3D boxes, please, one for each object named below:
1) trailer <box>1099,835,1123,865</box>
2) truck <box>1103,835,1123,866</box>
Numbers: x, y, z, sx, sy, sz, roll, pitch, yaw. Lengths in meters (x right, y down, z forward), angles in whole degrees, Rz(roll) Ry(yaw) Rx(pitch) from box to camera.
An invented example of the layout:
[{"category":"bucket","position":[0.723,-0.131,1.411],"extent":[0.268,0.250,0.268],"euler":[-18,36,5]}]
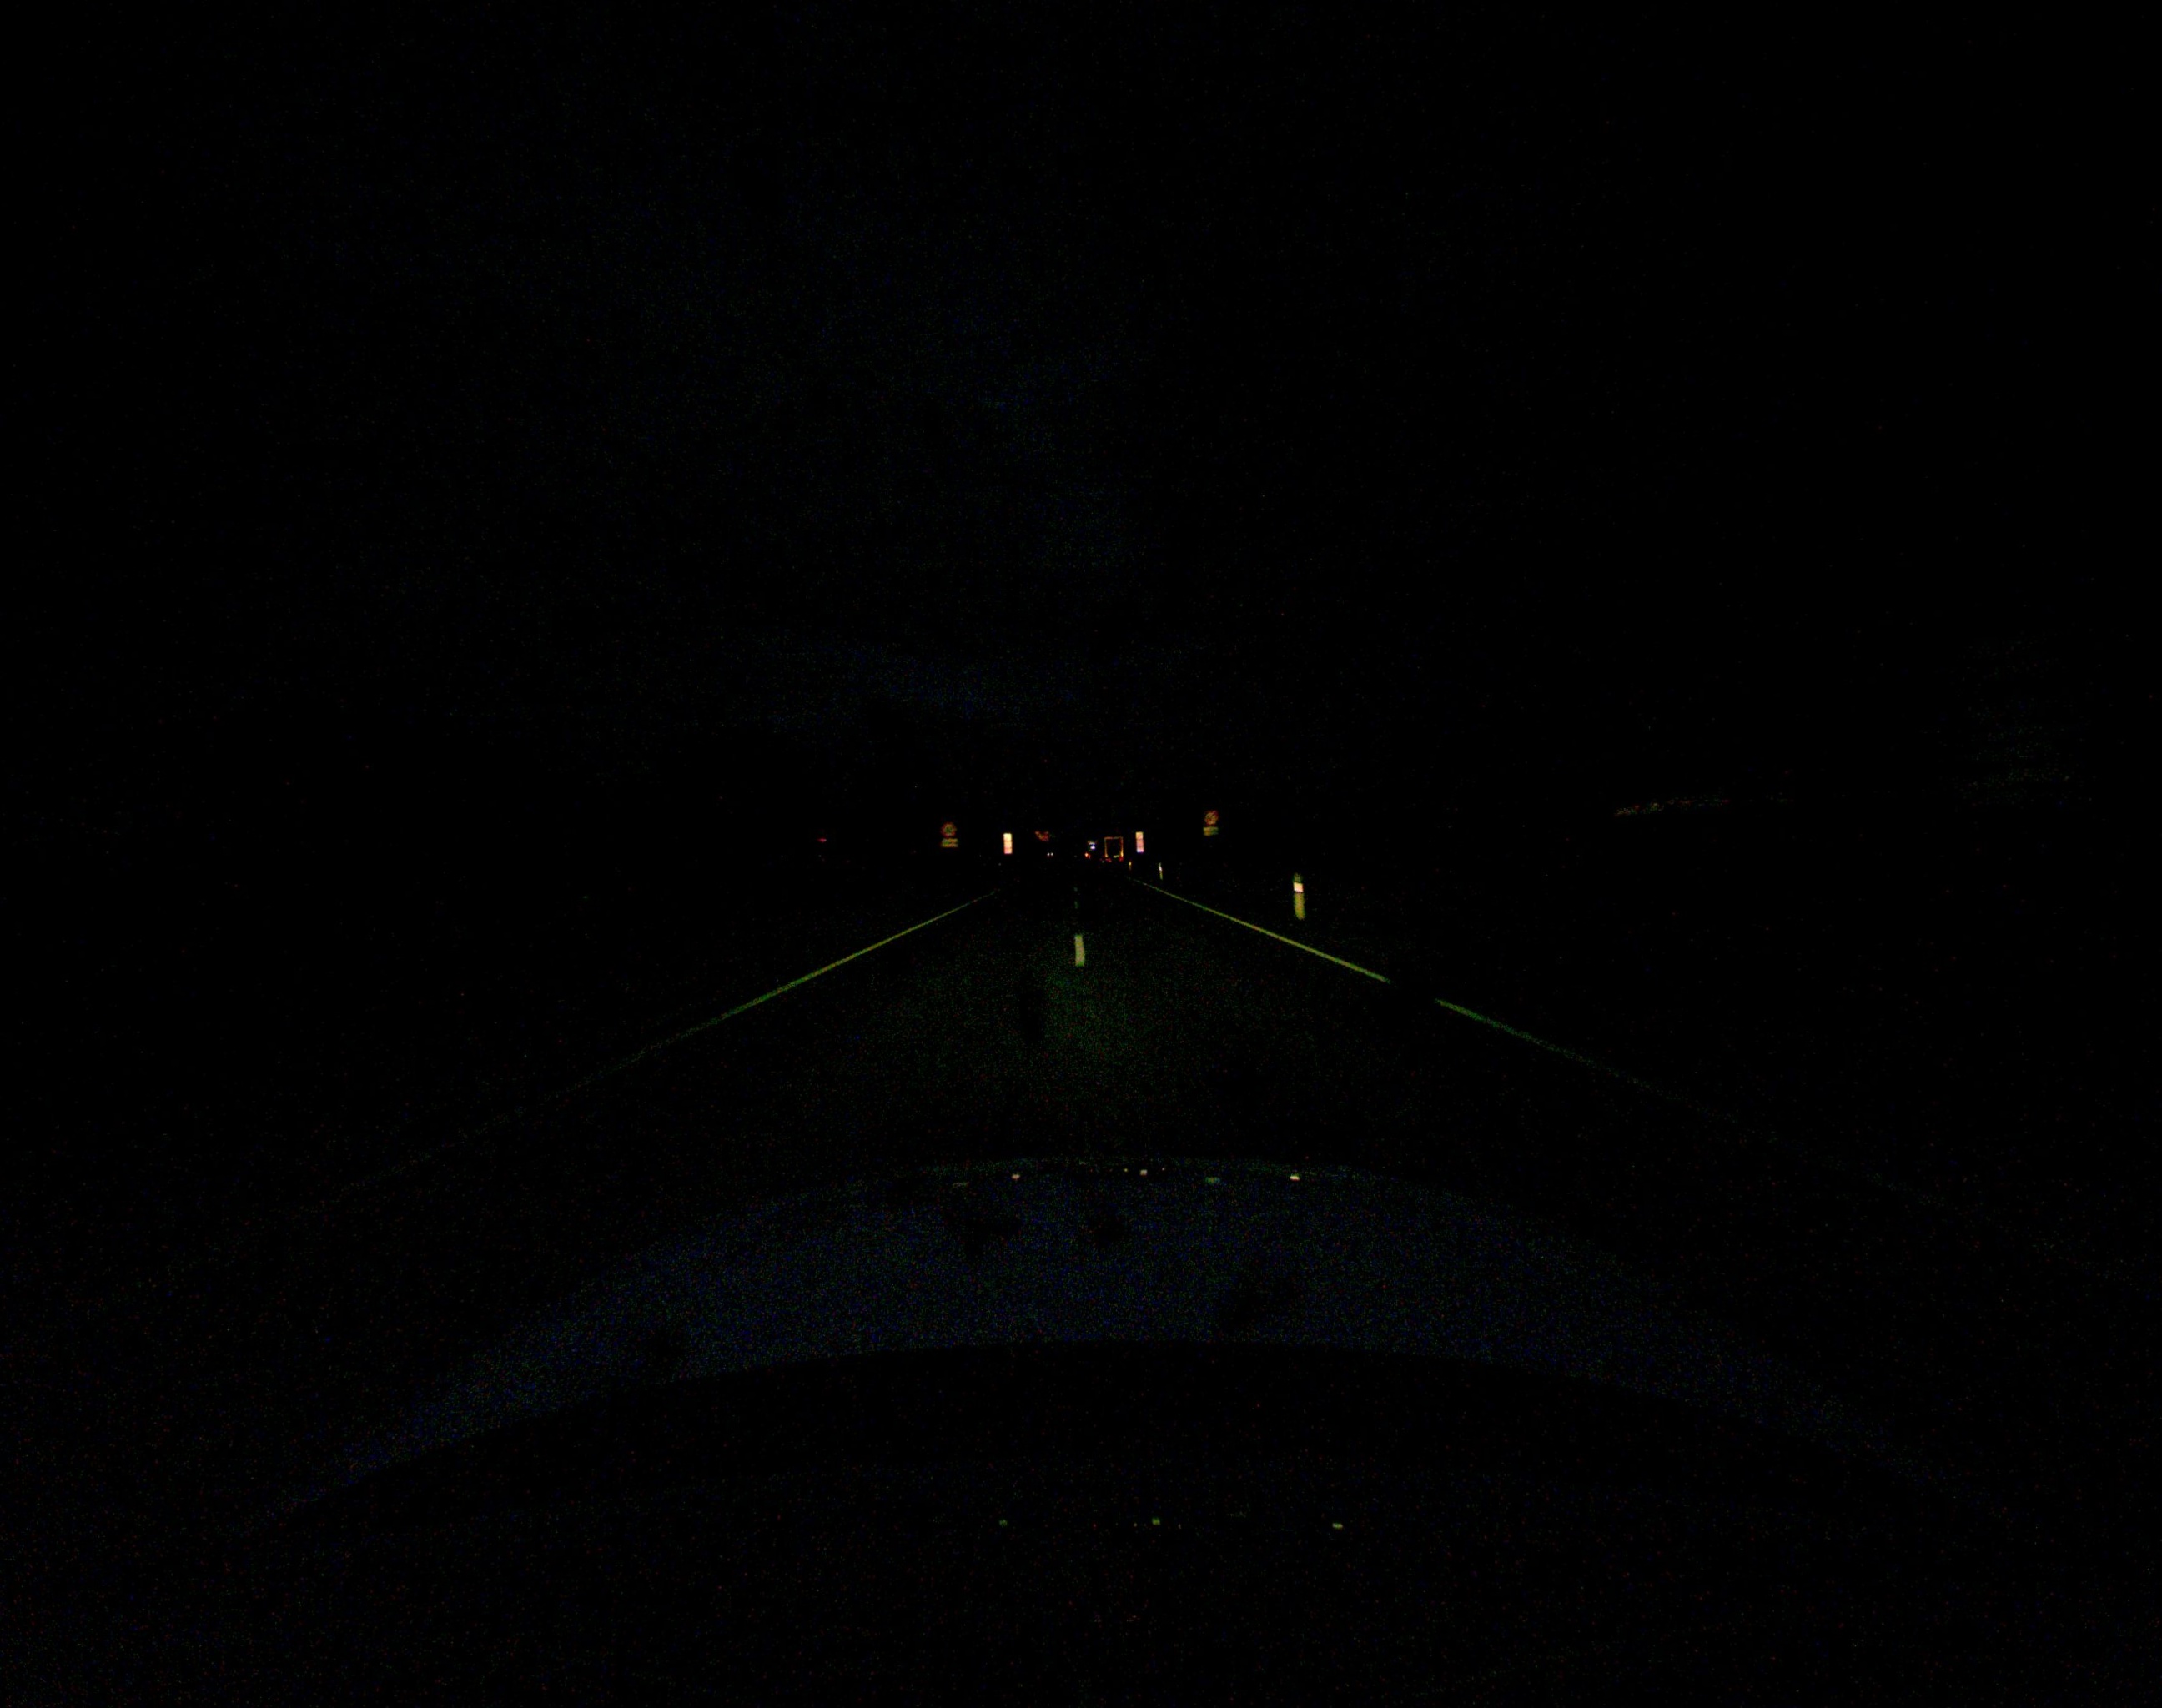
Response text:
[{"category":"trailer","position":[4.318,-0.544,119.727],"extent":[2.614,4.104,12.932],"euler":[-3,0,-1]},{"category":"truck","position":[4.370,-0.528,112.805],"extent":[2.571,4.071,6.129],"euler":[-1,0,0]}]
